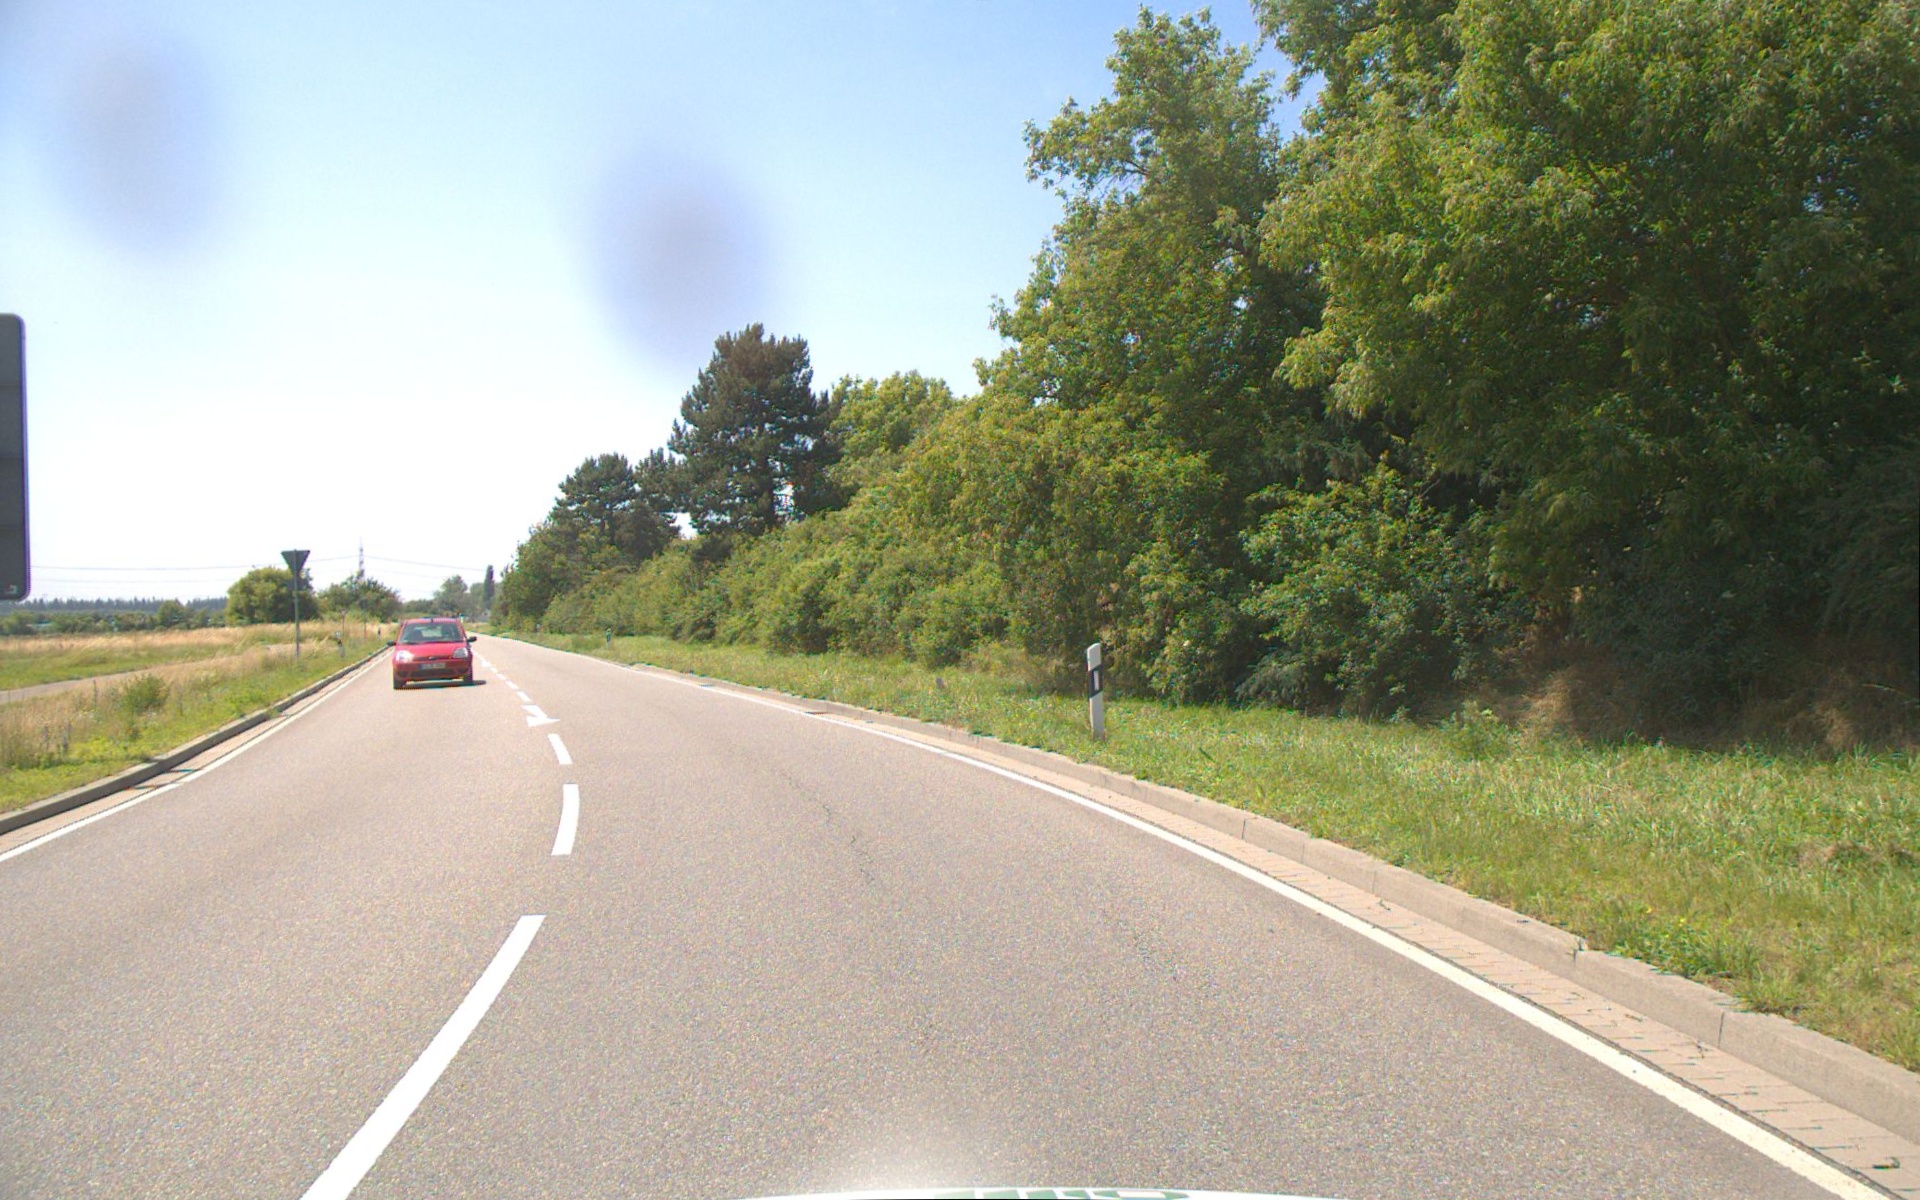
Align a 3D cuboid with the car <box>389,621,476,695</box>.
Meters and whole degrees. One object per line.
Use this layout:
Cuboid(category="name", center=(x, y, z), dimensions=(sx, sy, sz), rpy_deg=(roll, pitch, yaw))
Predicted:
Cuboid(category="car", center=(-11.624, 1.235, 36.622), dimensions=(1.628, 1.458, 3.720), rpy_deg=(-3, 0, -15))
